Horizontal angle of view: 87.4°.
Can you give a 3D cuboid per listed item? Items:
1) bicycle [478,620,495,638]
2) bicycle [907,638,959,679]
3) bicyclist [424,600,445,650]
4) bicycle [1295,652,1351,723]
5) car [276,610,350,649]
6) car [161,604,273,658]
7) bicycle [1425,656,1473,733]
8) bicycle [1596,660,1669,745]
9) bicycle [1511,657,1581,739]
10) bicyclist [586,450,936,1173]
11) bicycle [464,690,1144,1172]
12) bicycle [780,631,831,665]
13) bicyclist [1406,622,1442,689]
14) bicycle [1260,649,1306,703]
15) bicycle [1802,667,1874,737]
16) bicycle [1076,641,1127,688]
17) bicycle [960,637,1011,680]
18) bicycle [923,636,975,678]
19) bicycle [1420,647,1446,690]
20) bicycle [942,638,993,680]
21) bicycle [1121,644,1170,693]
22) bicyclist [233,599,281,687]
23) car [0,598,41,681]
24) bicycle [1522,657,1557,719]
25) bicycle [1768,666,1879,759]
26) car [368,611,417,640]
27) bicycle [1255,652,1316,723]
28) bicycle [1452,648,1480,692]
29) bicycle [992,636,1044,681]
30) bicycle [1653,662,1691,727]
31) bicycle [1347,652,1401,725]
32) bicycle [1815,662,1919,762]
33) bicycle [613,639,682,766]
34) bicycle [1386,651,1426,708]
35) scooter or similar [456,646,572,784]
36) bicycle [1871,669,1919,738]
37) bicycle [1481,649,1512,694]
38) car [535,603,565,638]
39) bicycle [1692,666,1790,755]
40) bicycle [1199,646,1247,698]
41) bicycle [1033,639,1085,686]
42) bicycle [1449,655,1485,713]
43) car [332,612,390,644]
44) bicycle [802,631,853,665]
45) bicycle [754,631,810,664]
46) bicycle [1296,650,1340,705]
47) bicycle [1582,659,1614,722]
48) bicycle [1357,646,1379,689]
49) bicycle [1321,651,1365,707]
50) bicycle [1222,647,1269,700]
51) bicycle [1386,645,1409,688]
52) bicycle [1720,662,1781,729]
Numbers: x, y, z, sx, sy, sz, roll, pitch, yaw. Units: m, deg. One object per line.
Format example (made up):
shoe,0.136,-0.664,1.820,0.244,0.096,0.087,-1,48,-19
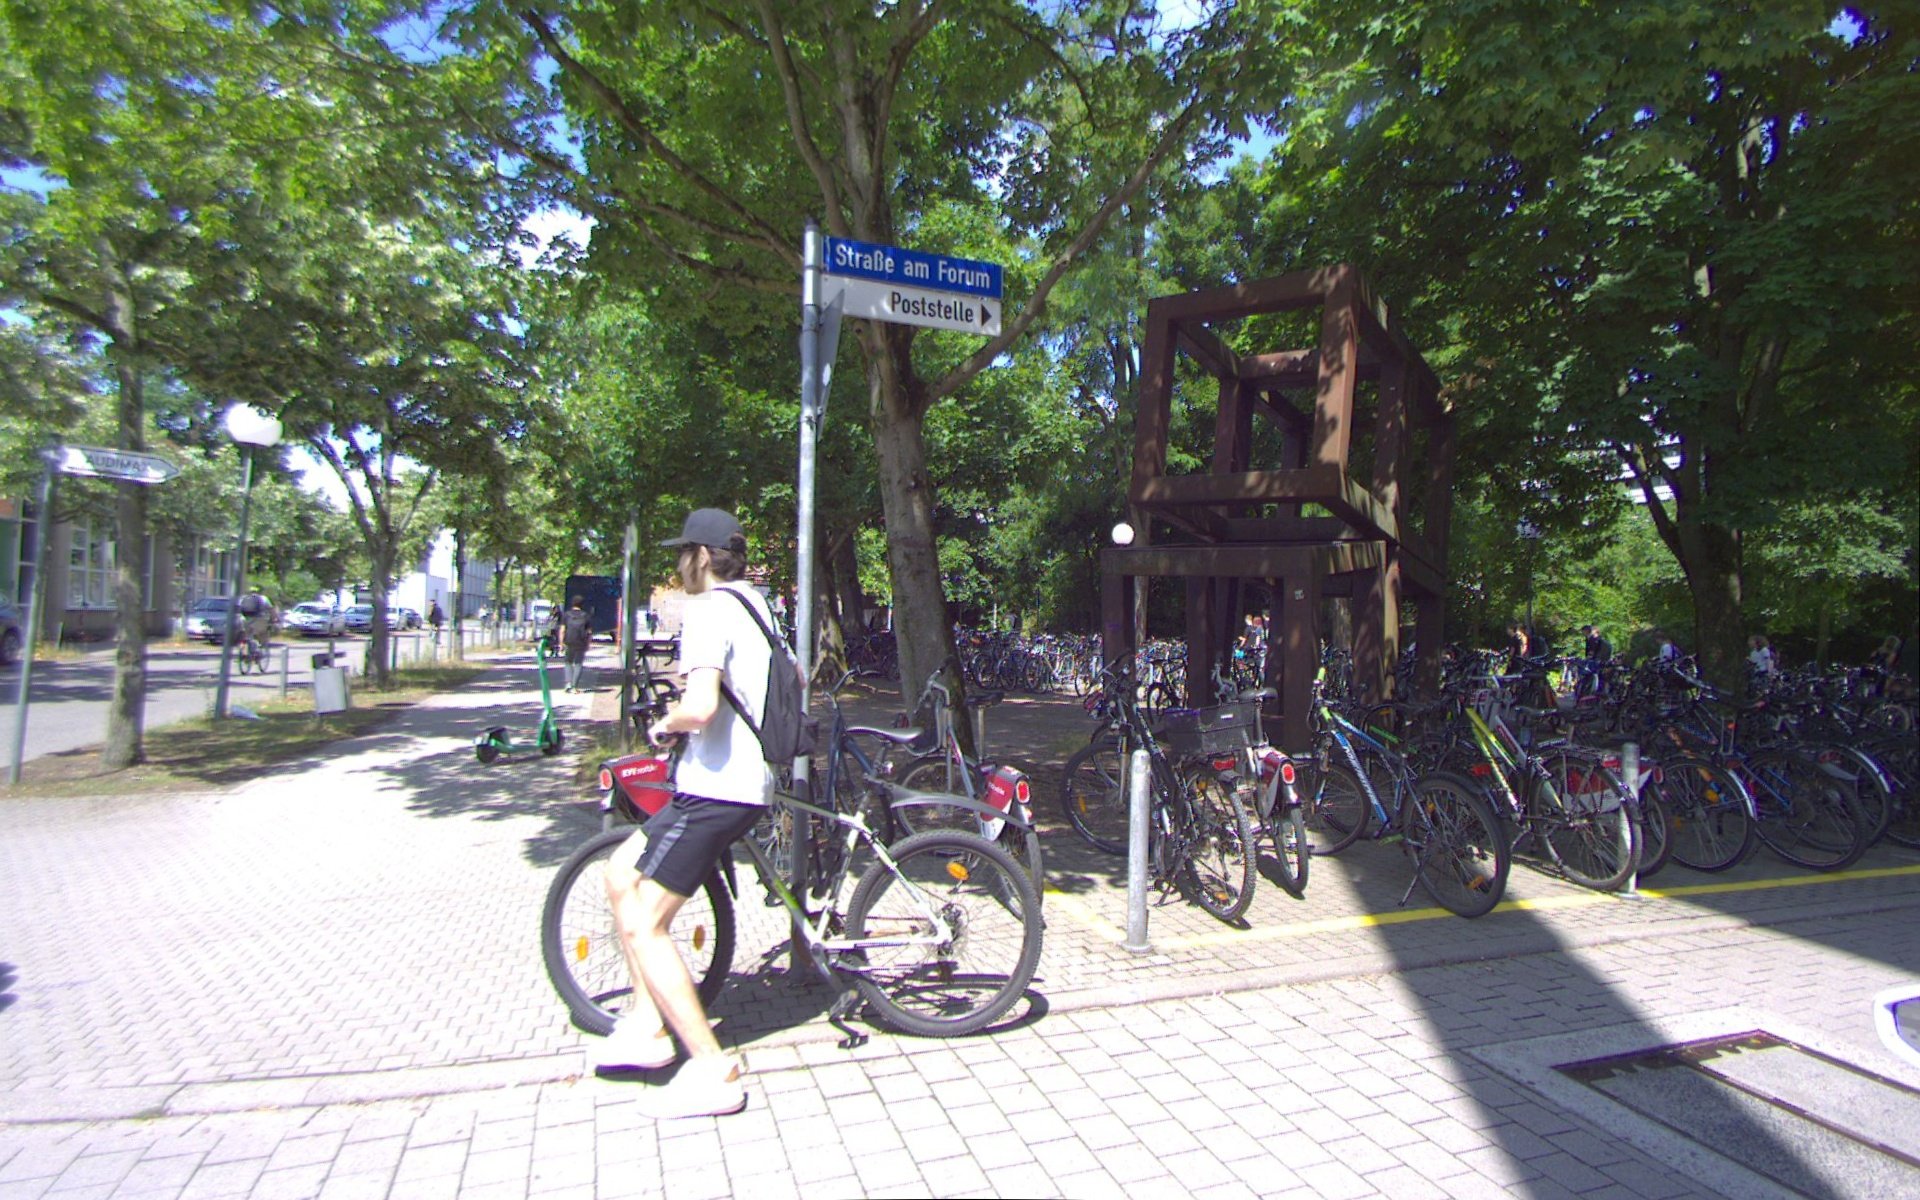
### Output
bicycle,-30.466,1.864,64.602,0.471,1.098,1.678,3,-1,-42
bicycle,-0.742,1.639,28.218,0.466,1.098,1.854,2,-1,32
bicyclist,-20.540,0.978,39.270,0.661,1.899,0.822,1,-1,-25
bicycle,6.264,1.469,17.264,0.494,1.122,1.776,2,-1,32
car,-28.501,1.285,44.367,1.811,1.561,4.517,2,-2,-21
car,-24.879,1.016,33.823,1.811,1.655,4.517,2,-2,-21
bicycle,7.859,1.488,16.194,0.493,1.122,1.700,2,-1,20
bicycle,10.064,1.500,15.088,0.493,1.122,1.700,2,-1,20
bicycle,9.085,1.486,15.616,0.619,1.122,1.700,2,-1,20
bicyclist,-0.602,0.580,3.135,0.852,1.917,0.803,3,0,-11
bicycle,-0.443,0.910,3.186,1.853,1.187,0.804,1,-1,-11
bicycle,-5.255,1.632,34.193,0.467,1.098,1.851,2,-1,39
bicyclist,11.311,1.344,24.476,0.709,1.589,0.594,2,-1,30
bicycle,7.040,1.623,21.822,0.466,1.098,1.854,2,-1,32
bicycle,15.467,1.763,17.726,0.465,1.098,1.698,2,-1,25
bicycle,3.473,1.563,24.556,0.466,1.098,1.854,2,-1,32
bicycle,0.704,1.581,27.166,0.466,1.098,1.854,2,-1,32
bicycle,-0.286,1.578,27.826,0.466,1.098,1.854,2,-1,32
bicycle,13.139,1.884,27.925,0.507,1.125,1.777,2,-1,22
bicycle,0.223,1.608,27.611,0.466,1.098,1.854,2,-1,32
bicycle,4.460,1.621,24.059,0.466,1.098,1.854,2,-1,32
bicyclist,-14.919,0.914,21.335,0.596,1.825,0.894,1,-1,-21
car,-19.777,0.739,19.070,1.811,1.638,4.516,4,-2,-21
bicycle,11.173,1.671,19.354,0.466,1.098,1.695,2,-1,33
bicycle,12.024,1.532,14.044,0.493,1.122,1.700,2,-1,16
car,-33.100,1.480,58.709,1.811,1.561,4.517,2,-2,-21
bicycle,5.625,1.469,17.304,0.494,1.122,1.902,2,-1,32
bicycle,13.892,1.902,27.611,0.507,1.125,1.777,2,-1,22
bicycle,1.536,1.502,26.105,0.466,1.098,1.854,2,-1,32
bicycle,13.257,1.740,18.719,0.466,1.098,1.695,2,-1,33
bicycle,6.933,1.446,16.796,0.494,1.122,1.776,2,-1,32
bicycle,12.597,1.506,13.834,0.564,1.215,1.700,2,-1,16
bicycle,-3.272,1.015,10.446,0.388,1.122,1.827,3,-1,-25
bicycle,9.207,1.620,20.700,0.466,1.098,1.695,2,-1,33
scooter or similar,-4.222,1.050,9.574,0.287,1.210,1.186,1,-1,16
bicycle,16.339,1.772,17.115,0.464,1.098,1.700,2,-1,16
bicycle,14.548,1.918,27.258,0.507,1.125,1.777,2,-1,22
car,-38.222,1.983,93.846,2.236,3.053,5.713,4,-3,-20
bicycle,11.172,1.548,14.427,0.493,1.122,1.700,2,-1,16
bicycle,5.967,1.610,22.688,0.466,1.098,1.854,2,-1,32
bicycle,2.513,1.558,25.265,0.466,1.098,1.854,2,-1,32
bicycle,10.347,1.686,20.475,0.466,1.098,1.695,2,-1,33
car,-31.275,1.453,52.596,1.811,1.561,4.517,2,-2,-21
bicycle,-4.385,1.602,33.363,0.467,1.098,1.851,2,-1,39
bicycle,-6.164,1.654,34.870,1.842,1.098,0.469,3,-1,-37
bicycle,7.691,1.637,21.545,0.466,1.098,1.854,2,-1,32
bicycle,12.124,1.686,19.096,0.466,1.098,1.695,2,-1,33
bicycle,11.566,1.900,28.485,0.507,1.125,1.777,2,-1,22
bicycle,8.076,1.641,21.127,0.466,1.098,1.854,2,-1,32
bicycle,6.376,1.619,22.364,0.466,1.098,1.854,2,-1,32
bicycle,12.272,1.850,28.208,0.507,1.125,1.777,2,-1,22
bicycle,14.452,1.727,18.401,0.465,1.098,1.698,2,-1,25
